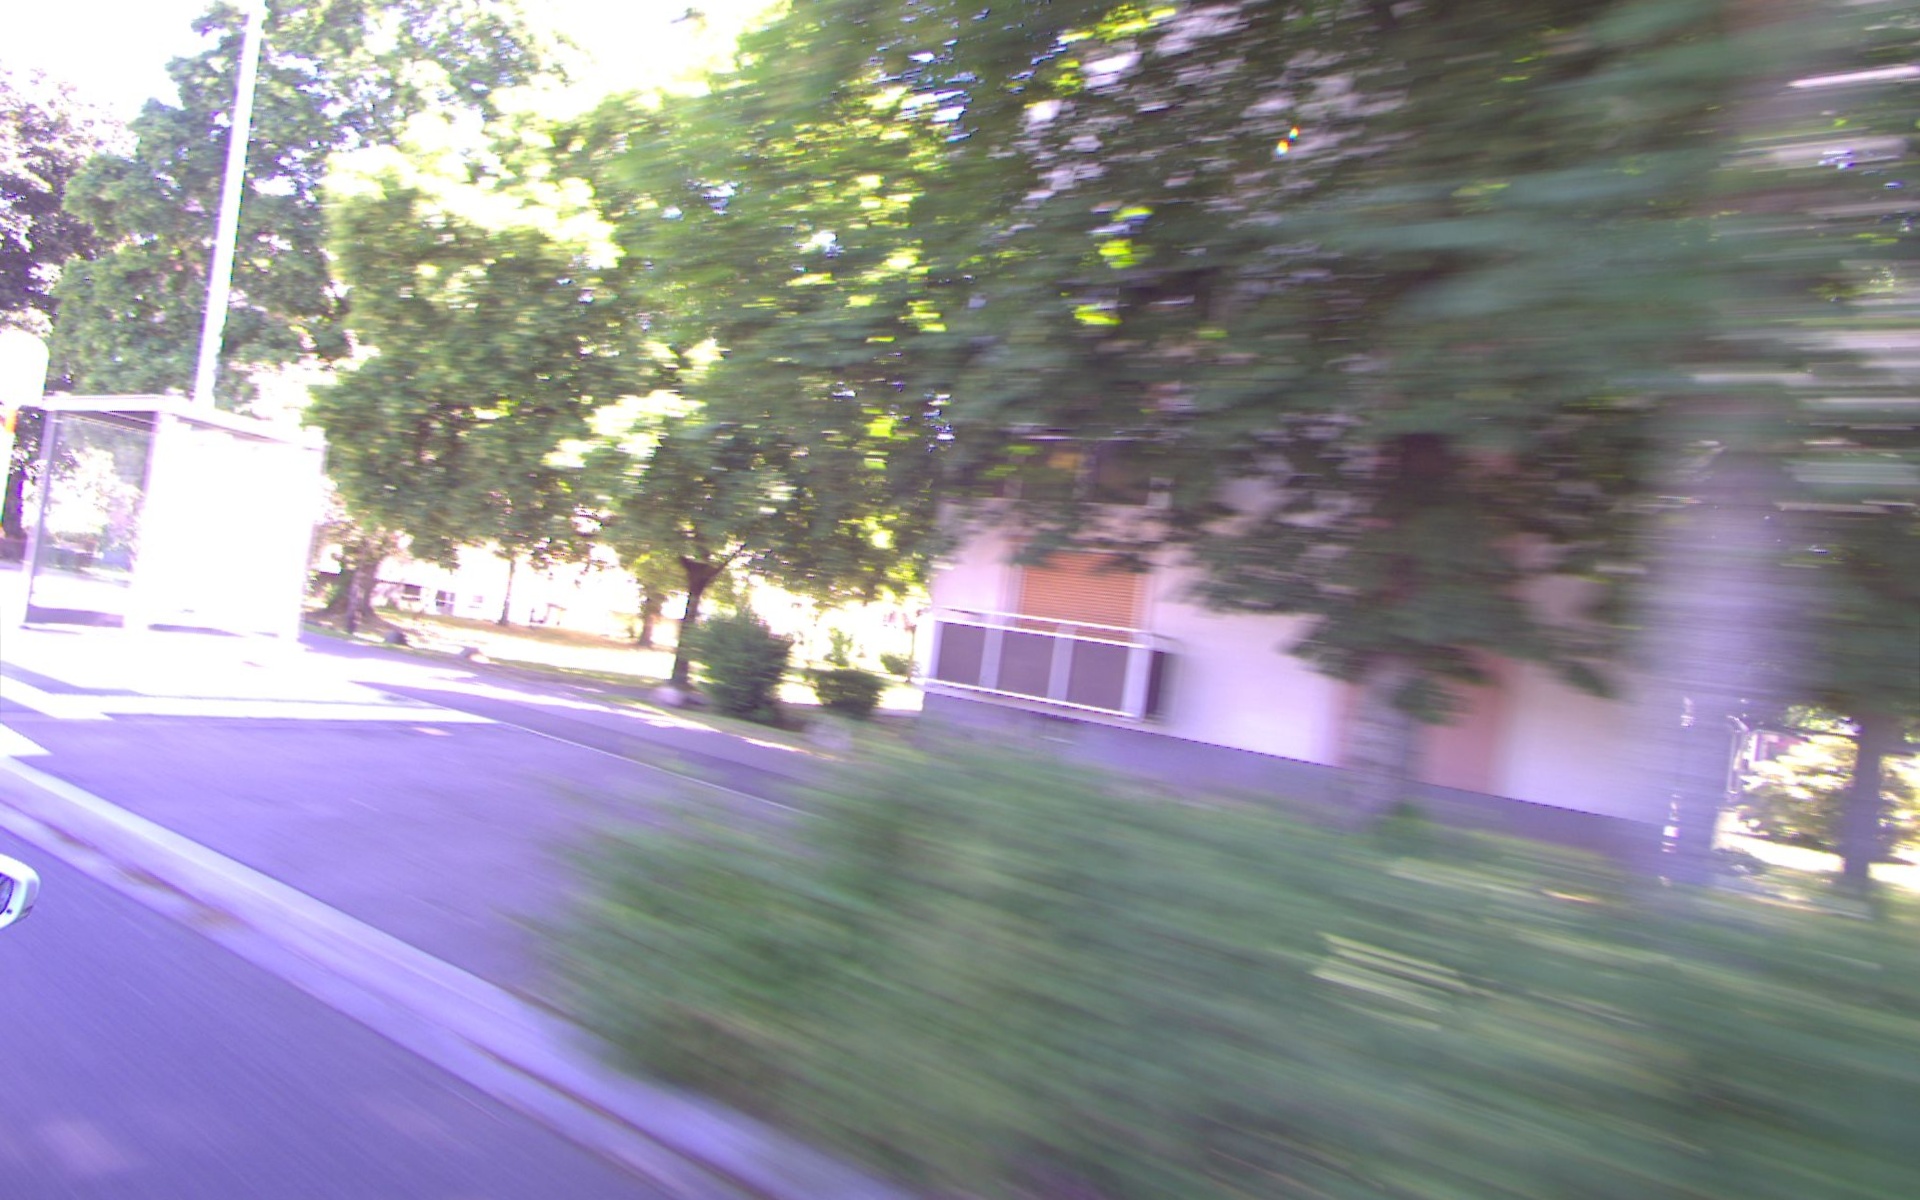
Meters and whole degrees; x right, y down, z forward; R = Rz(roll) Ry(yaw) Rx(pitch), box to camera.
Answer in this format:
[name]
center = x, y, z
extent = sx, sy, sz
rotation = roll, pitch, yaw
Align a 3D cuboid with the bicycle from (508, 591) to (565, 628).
[bicycle]
center = -15.915, 0.356, 37.778
extent = 2.149, 1.078, 0.724
rotation = 7, -2, 32
